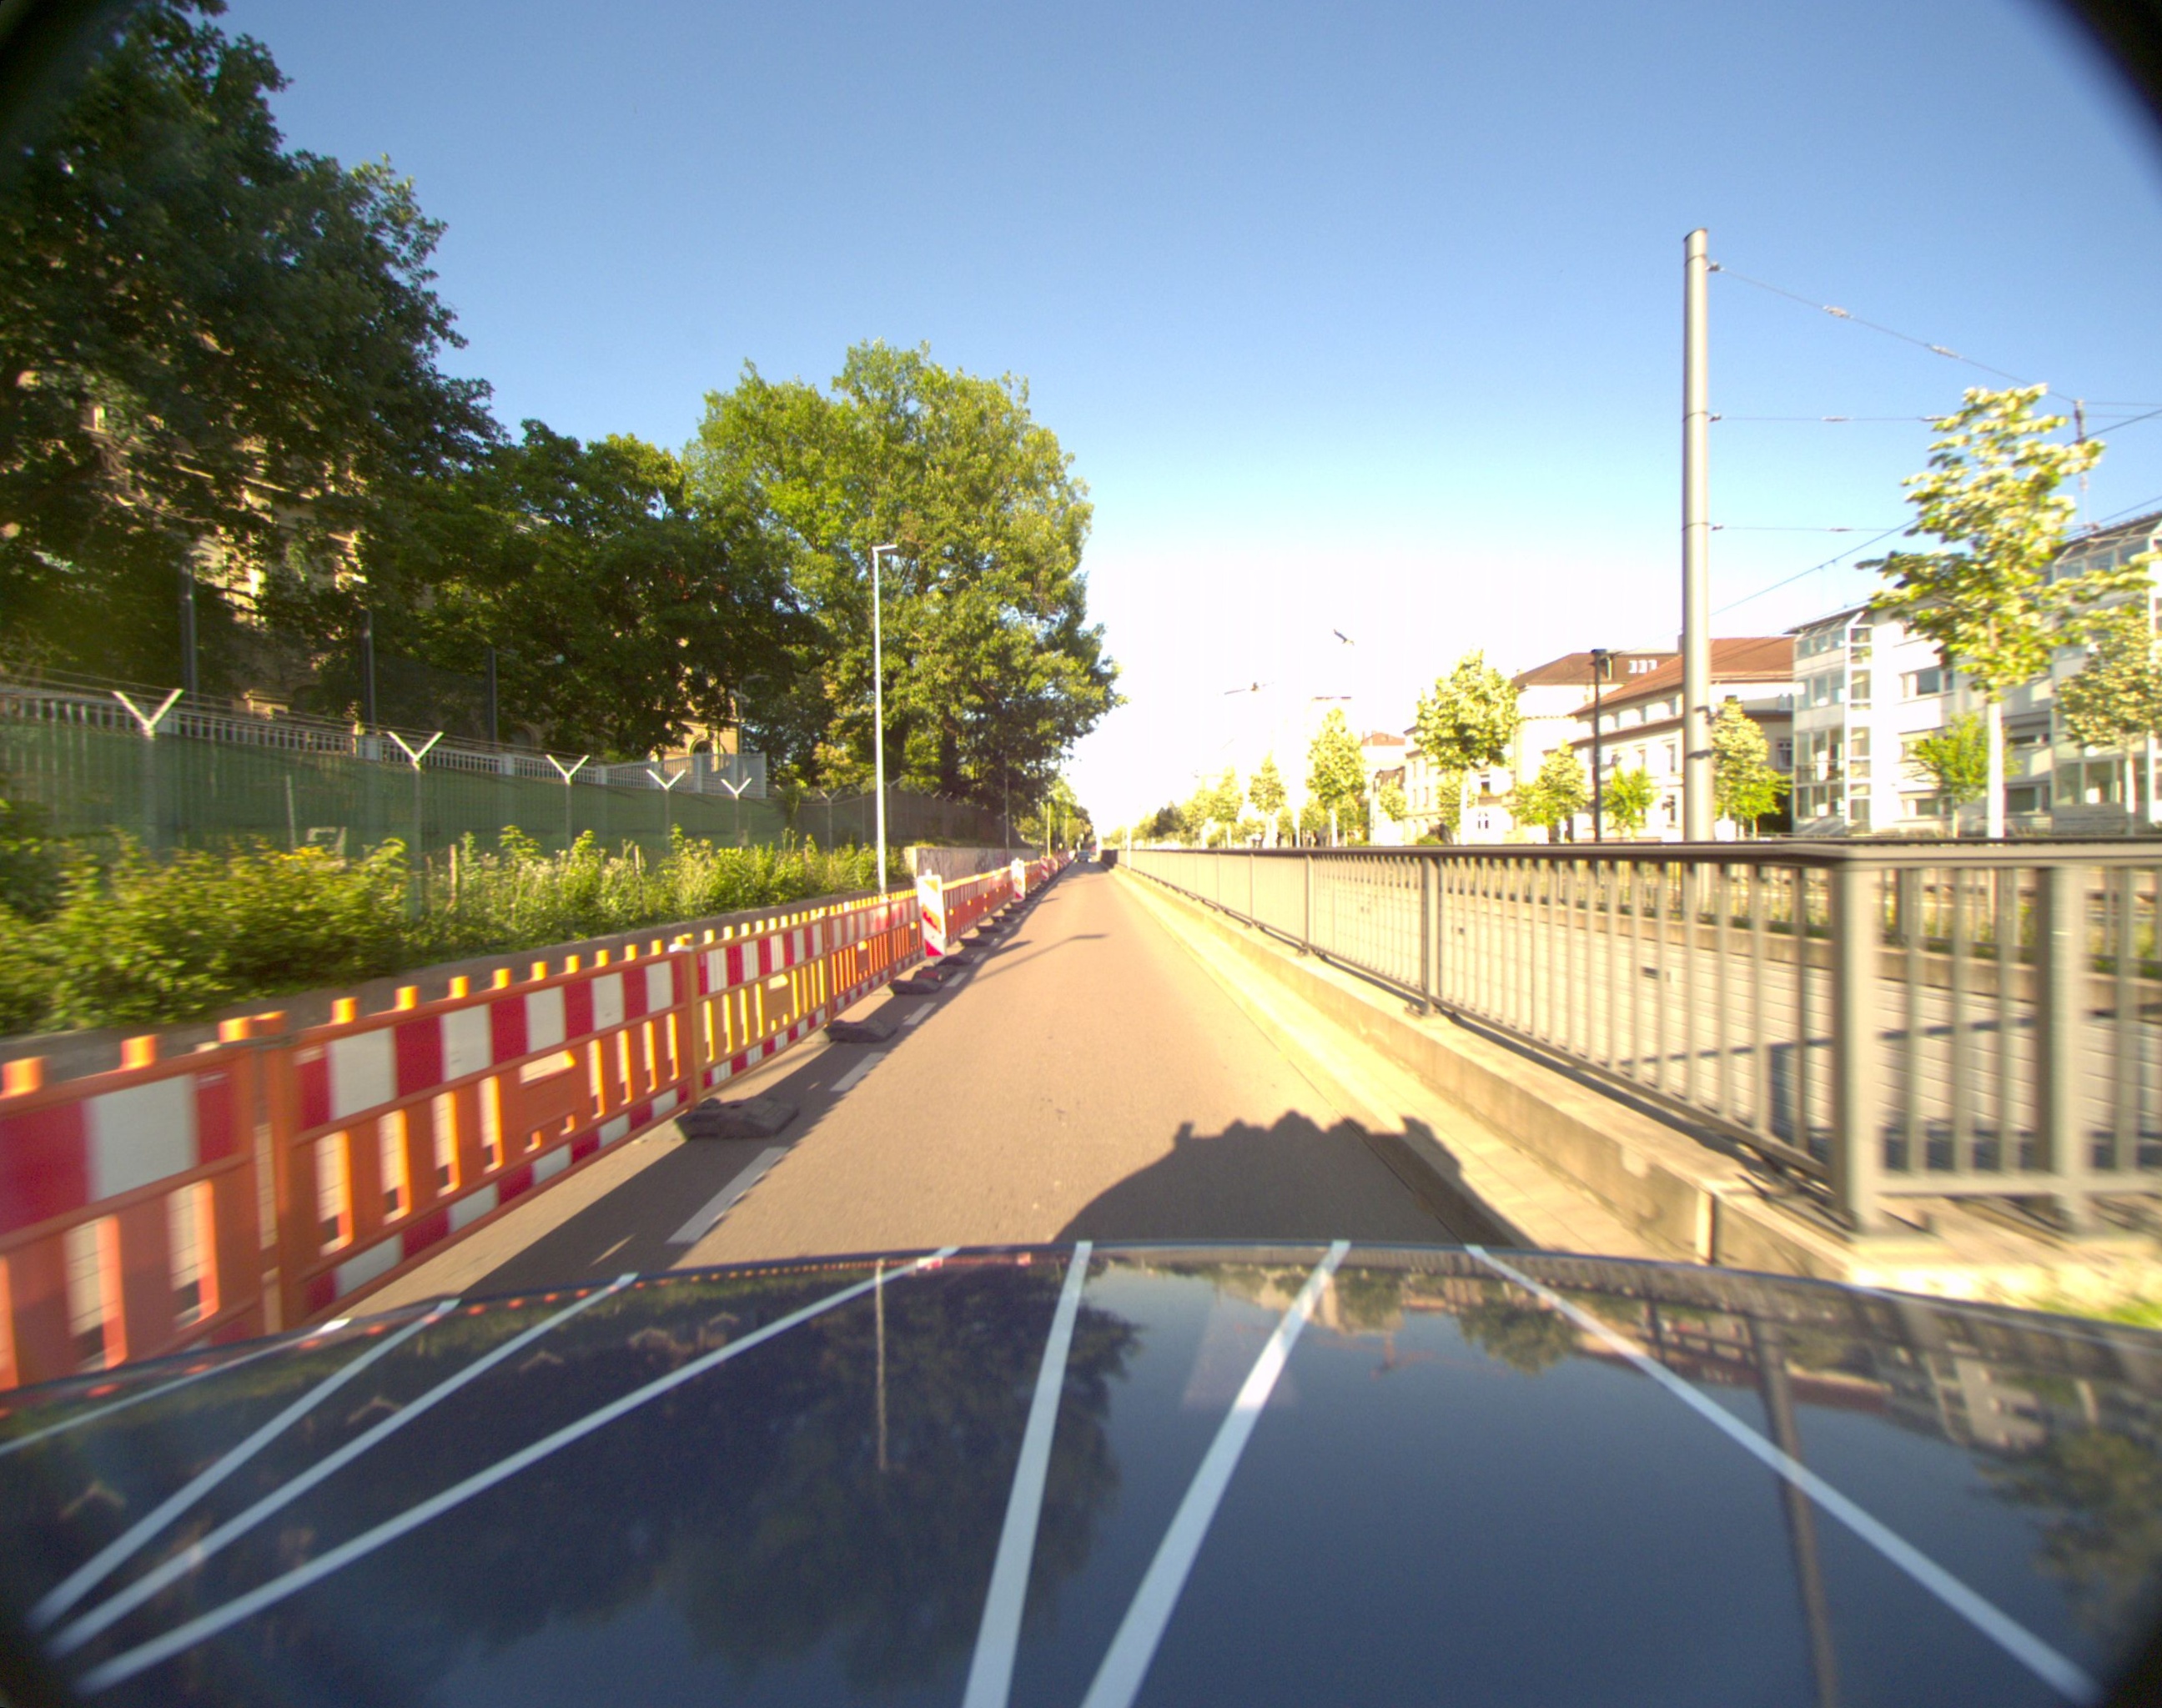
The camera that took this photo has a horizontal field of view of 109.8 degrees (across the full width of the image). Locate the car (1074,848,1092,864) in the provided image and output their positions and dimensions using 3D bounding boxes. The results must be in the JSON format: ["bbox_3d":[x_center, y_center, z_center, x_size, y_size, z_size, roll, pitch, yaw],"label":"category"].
[{"bbox_3d":[0.259,0.232,88.110,2.080,1.827,3.999,-1,1,1],"label":"car"}]
